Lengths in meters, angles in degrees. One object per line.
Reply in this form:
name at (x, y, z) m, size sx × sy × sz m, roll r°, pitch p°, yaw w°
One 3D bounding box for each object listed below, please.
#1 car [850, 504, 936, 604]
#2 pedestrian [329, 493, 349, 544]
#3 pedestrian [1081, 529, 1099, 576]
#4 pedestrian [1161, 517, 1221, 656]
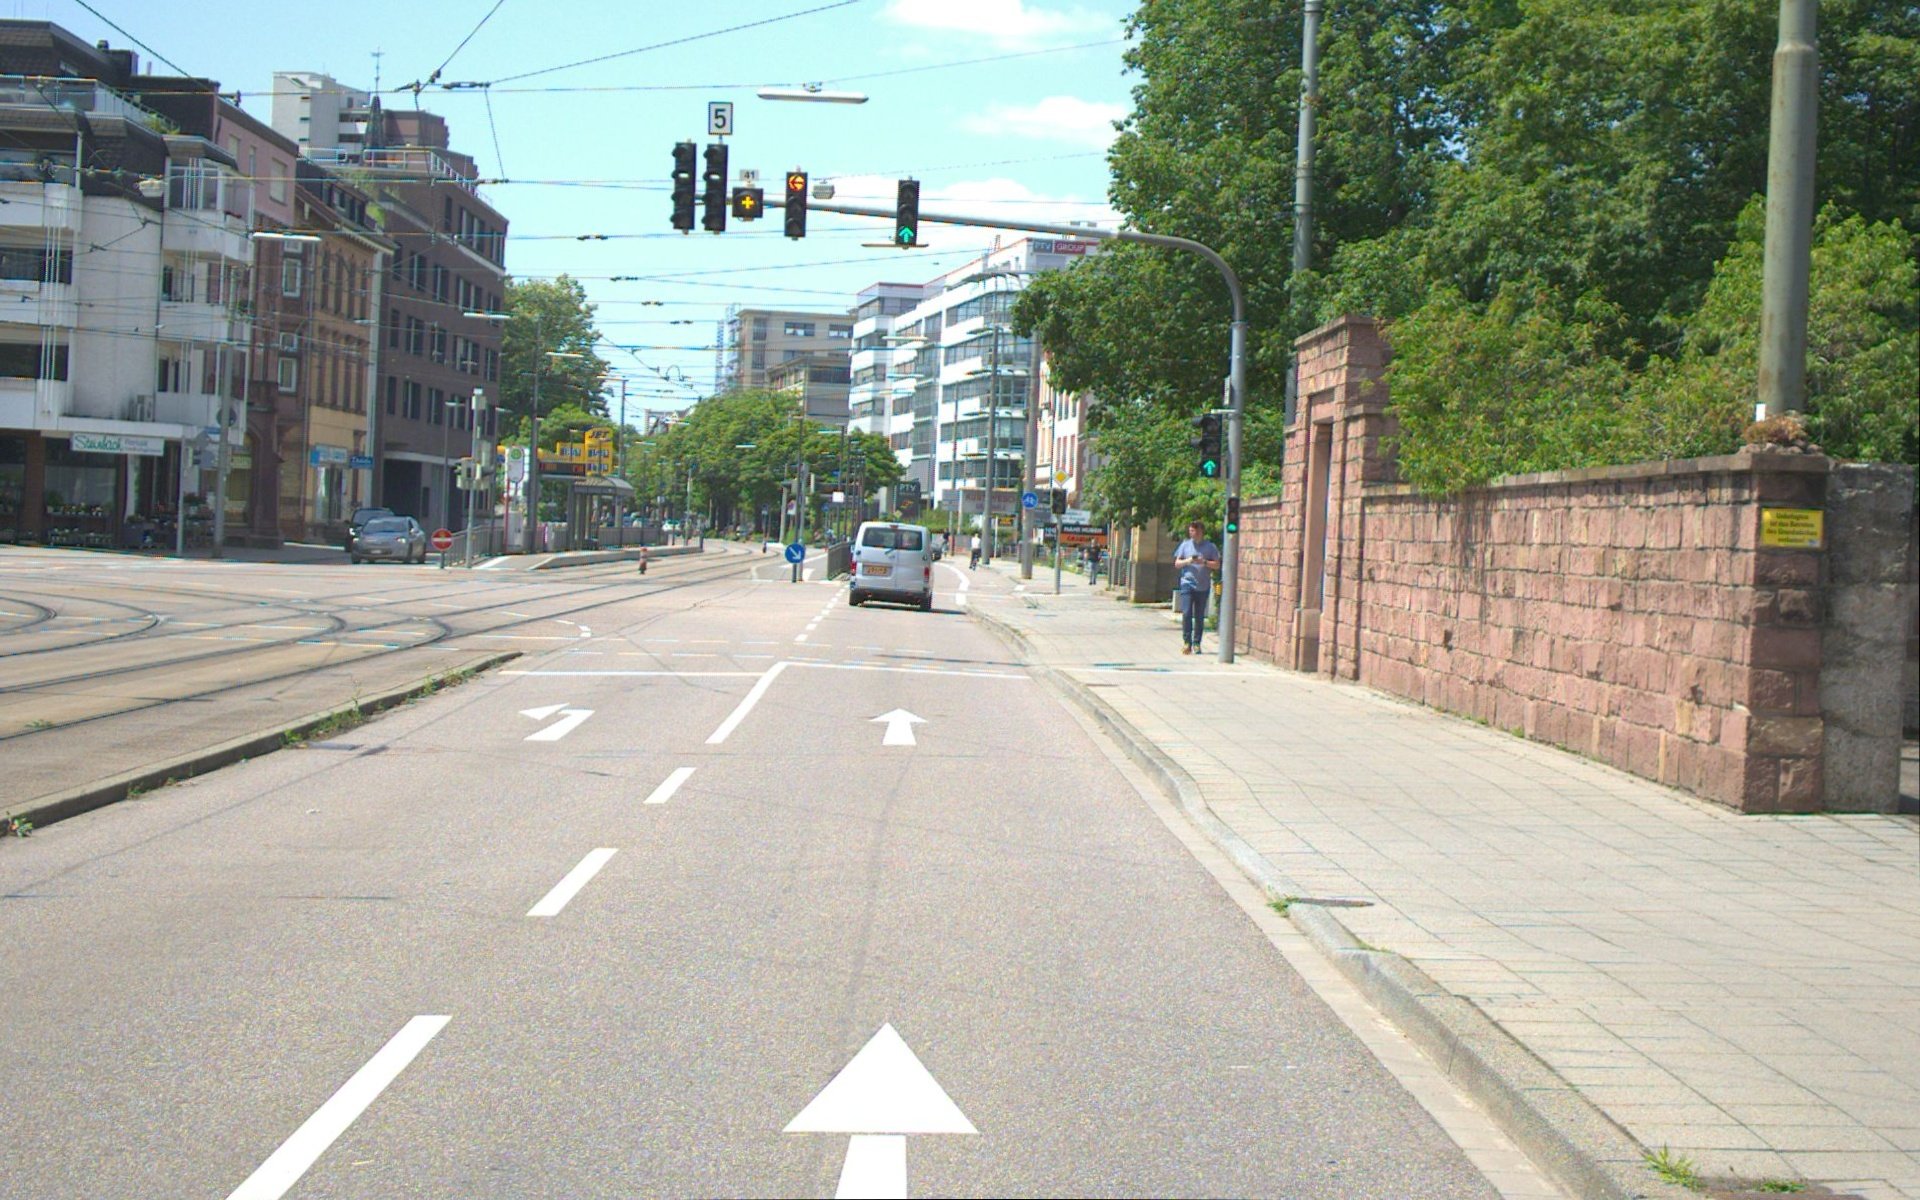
car at (-1.439, -1.021, 74.355) m, size 1.752 × 2.006 × 4.001 m, roll 2°, pitch 2°, yaw -1°
pedestrian at (-24.482, -3.220, 135.562) m, size 0.617 × 2.007 × 0.810 m, roll 2°, pitch 1°, yaw -3°
pedestrian at (4.363, -1.584, 115.446) m, size 0.577 × 1.551 × 0.786 m, roll 1°, pitch 0°, yaw 3°
pedestrian at (3.139, -0.193, 46.641) m, size 0.716 × 1.845 × 0.767 m, roll 2°, pitch 1°, yaw 6°
